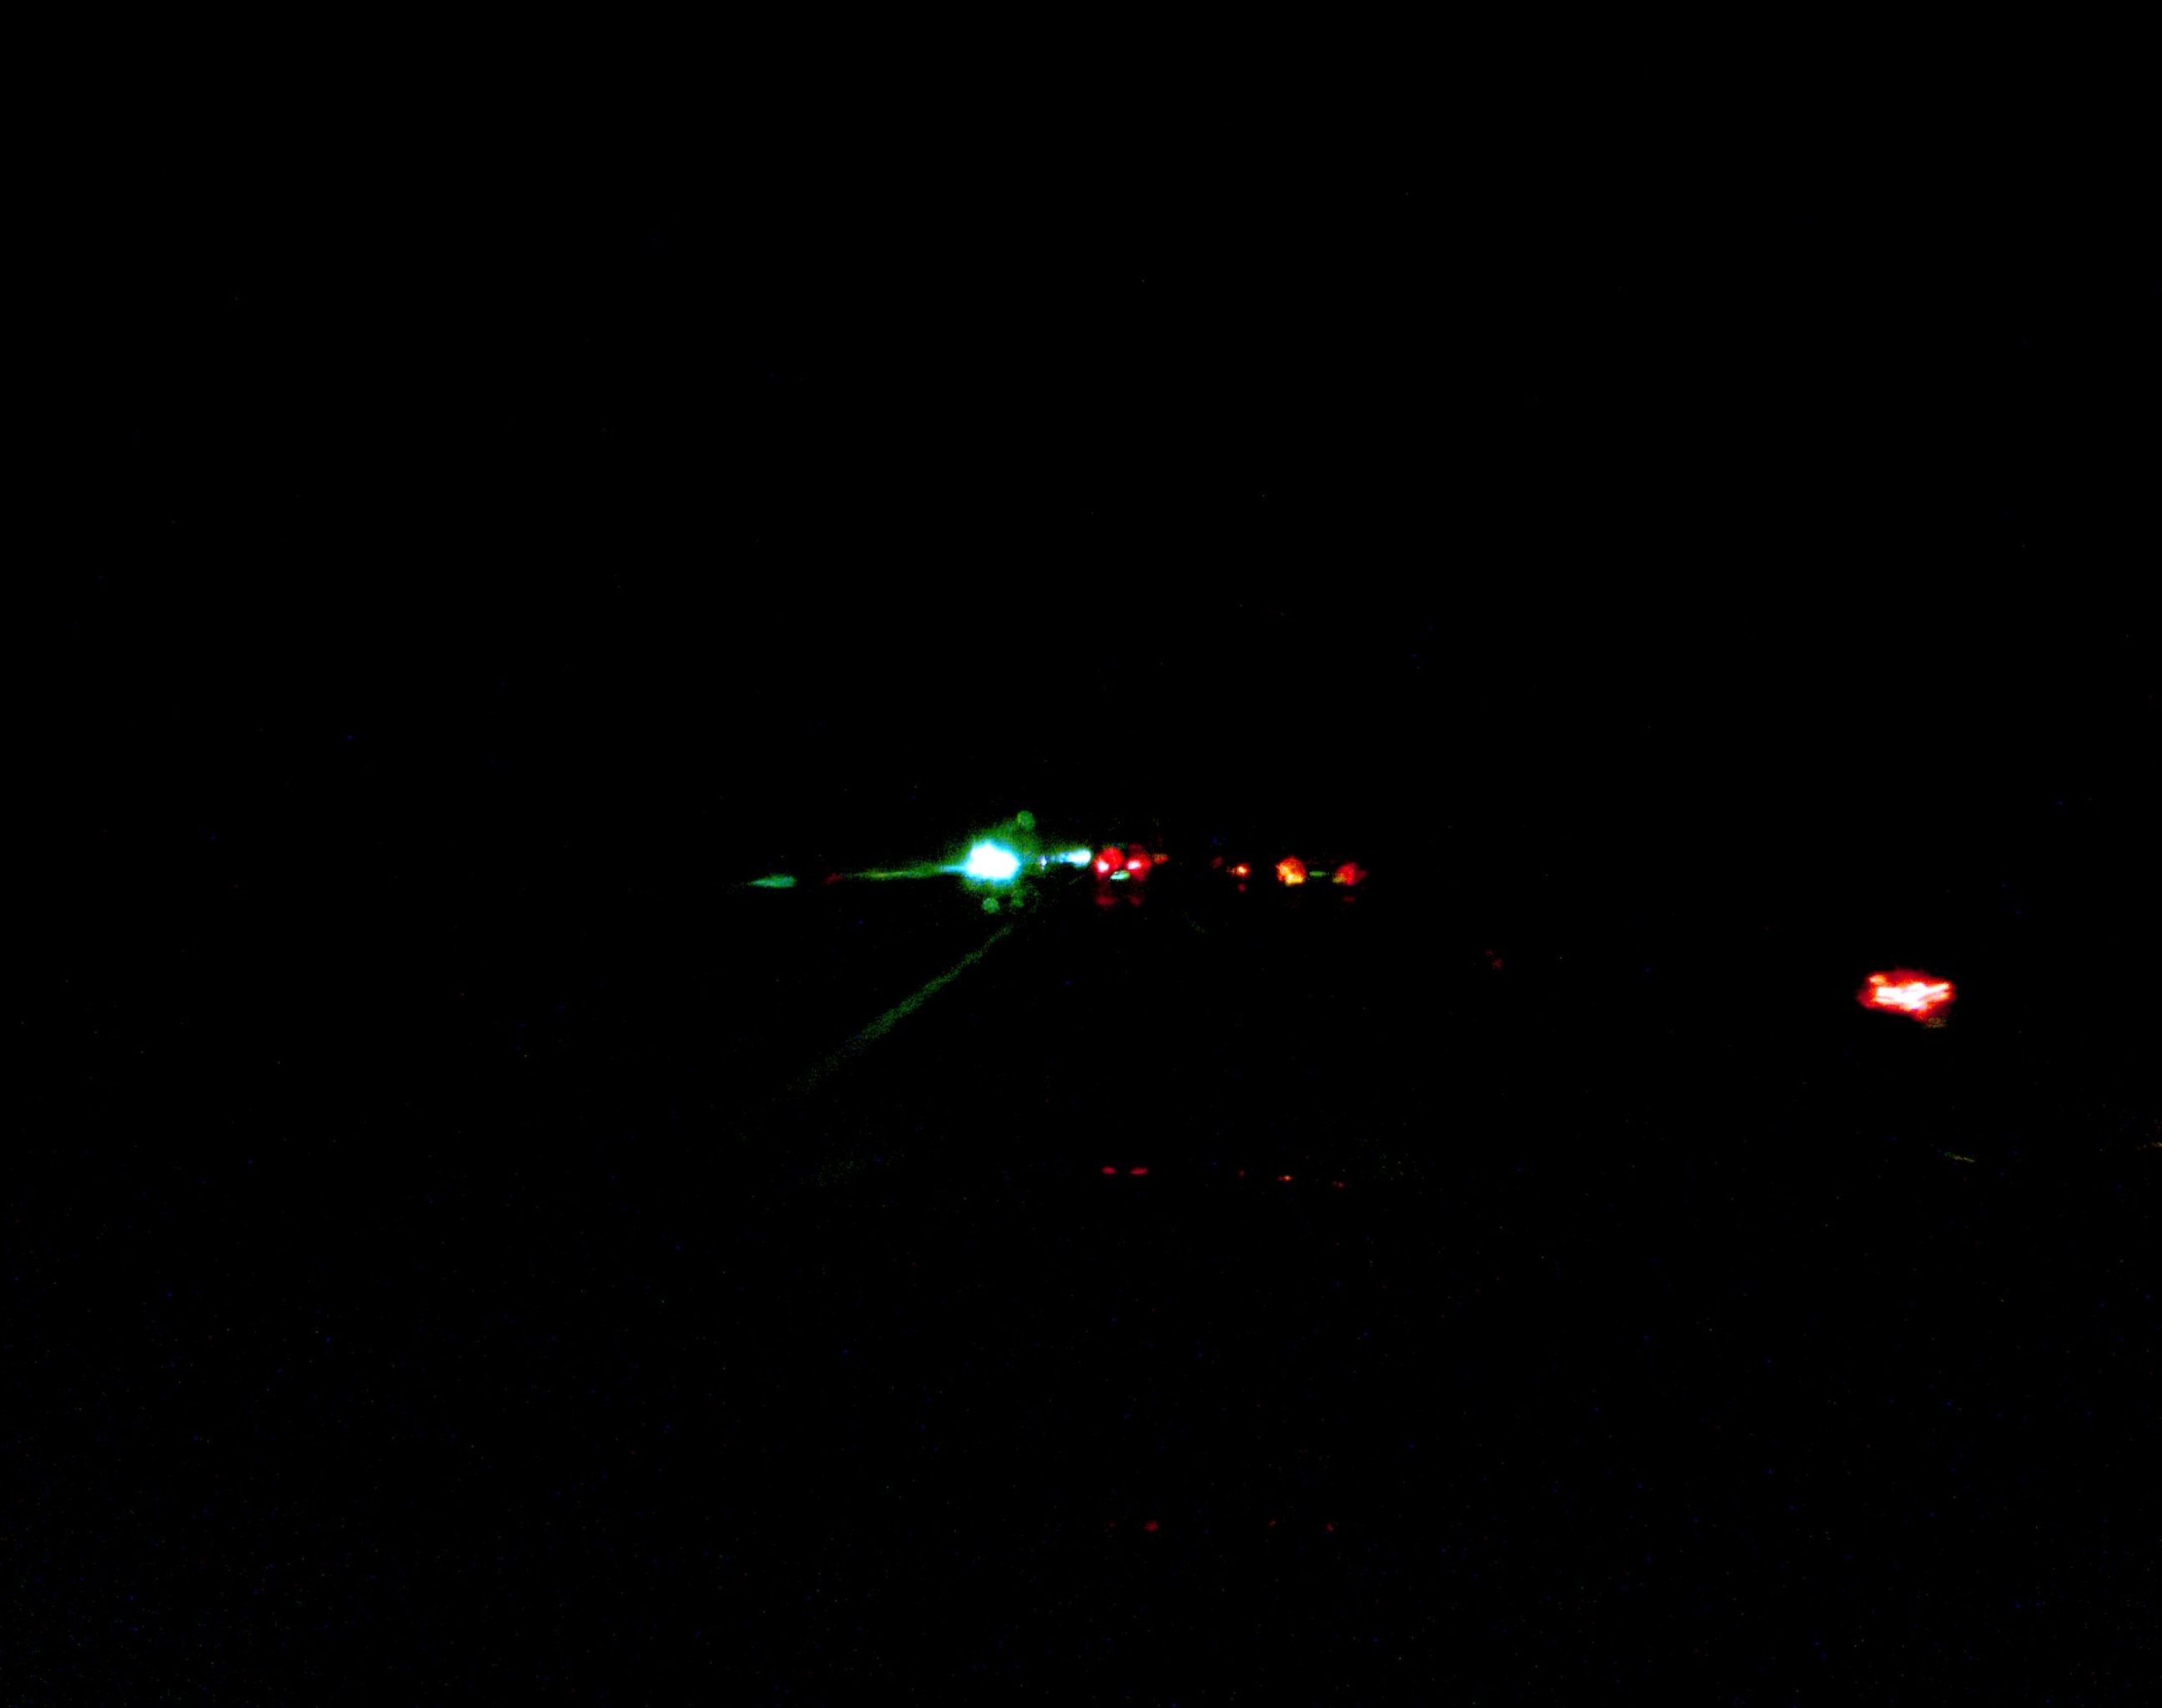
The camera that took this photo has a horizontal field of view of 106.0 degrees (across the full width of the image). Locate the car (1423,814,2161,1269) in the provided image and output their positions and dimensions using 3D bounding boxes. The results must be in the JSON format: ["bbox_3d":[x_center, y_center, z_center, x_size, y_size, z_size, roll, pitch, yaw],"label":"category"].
[{"bbox_3d":[3.919,0.667,5.102,1.734,1.575,4.495,-1,-1,1],"label":"car"}]

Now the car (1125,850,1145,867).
[{"bbox_3d":[6.856,0.580,103.511,1.988,2.014,3.997,-3,-1,-2],"label":"car"}]

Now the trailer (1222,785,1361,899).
[{"bbox_3d":[9.068,-0.432,37.425,2.892,4.108,14.493,-3,0,2],"label":"trailer"}]

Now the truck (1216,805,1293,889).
[{"bbox_3d":[9.275,-0.362,44.320,2.892,4.108,6.033,-3,0,2],"label":"truck"}]

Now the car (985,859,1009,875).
[{"bbox_3d":[-9.732,1.526,94.960,1.986,1.739,5.238,1,0,2],"label":"car"}]

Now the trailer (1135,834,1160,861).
[{"bbox_3d":[11.505,-1.039,141.822,3.031,4.108,13.827,-3,-1,0],"label":"trailer"}]

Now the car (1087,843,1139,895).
[{"bbox_3d":[1.319,0.625,34.197,1.986,2.014,4.001,-2,-1,1],"label":"car"}]
